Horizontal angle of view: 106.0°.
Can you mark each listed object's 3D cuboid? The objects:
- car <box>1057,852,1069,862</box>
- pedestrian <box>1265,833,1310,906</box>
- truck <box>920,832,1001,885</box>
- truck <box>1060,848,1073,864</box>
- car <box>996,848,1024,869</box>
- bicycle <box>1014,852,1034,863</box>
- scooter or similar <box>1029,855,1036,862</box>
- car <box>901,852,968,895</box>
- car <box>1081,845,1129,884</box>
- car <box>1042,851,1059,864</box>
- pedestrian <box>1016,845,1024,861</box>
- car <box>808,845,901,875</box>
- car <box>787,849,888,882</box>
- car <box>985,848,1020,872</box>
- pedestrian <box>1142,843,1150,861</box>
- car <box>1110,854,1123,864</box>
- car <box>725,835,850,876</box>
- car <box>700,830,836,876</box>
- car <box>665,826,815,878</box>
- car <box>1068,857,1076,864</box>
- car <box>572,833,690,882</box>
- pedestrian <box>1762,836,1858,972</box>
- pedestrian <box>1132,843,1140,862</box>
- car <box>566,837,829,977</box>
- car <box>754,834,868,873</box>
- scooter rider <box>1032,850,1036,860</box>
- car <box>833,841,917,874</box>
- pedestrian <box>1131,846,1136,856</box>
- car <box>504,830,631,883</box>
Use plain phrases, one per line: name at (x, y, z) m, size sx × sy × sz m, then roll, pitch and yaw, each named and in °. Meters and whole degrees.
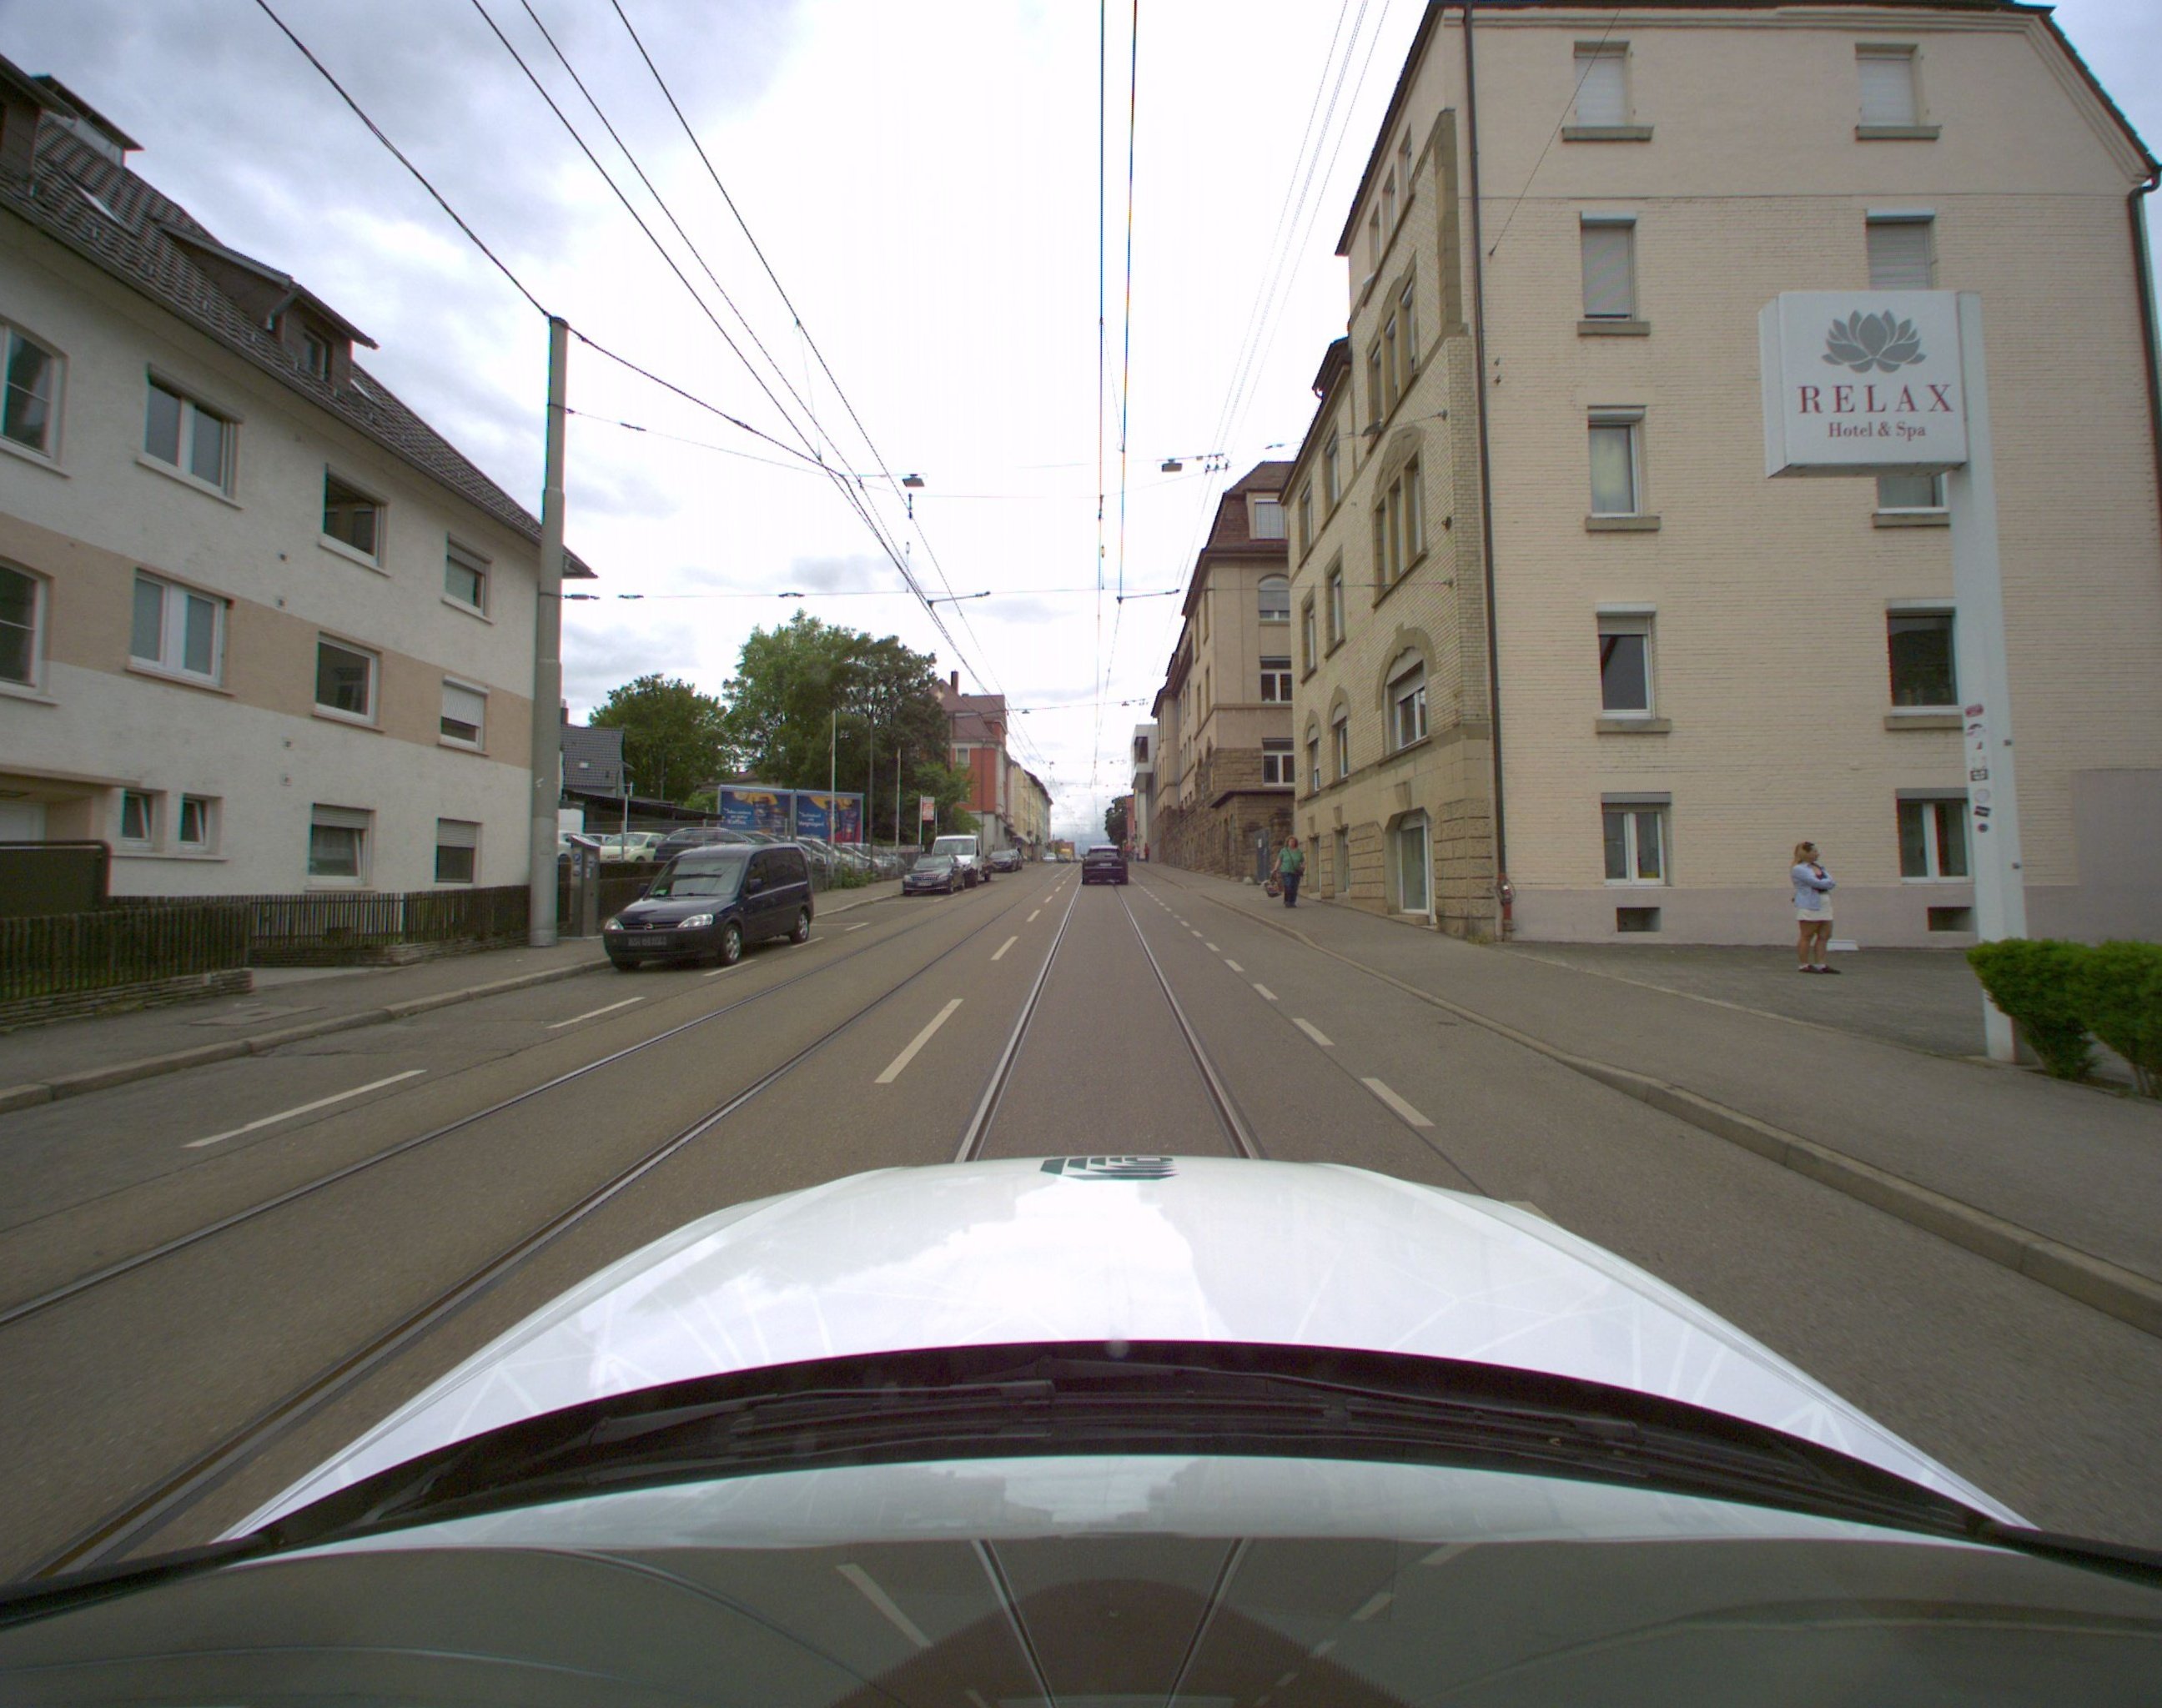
car at (-3.089, 0.549, 138.520) m, size 1.848 × 1.607 × 4.298 m, roll 0°, pitch 0°, yaw 1°
pedestrian at (4.958, 0.358, 19.563) m, size 0.867 × 1.686 × 0.663 m, roll -2°, pitch 0°, yaw 2°
truck at (-5.393, 0.154, 37.812) m, size 2.271 × 2.188 × 8.029 m, roll 0°, pitch 0°, yaw 2°
truck at (-2.800, 0.421, 158.700) m, size 2.294 × 3.036 × 9.034 m, roll 0°, pitch 0°, yaw 1°
car at (-5.047, 0.281, 58.218) m, size 1.510 × 1.446 × 3.711 m, roll 0°, pitch 0°, yaw 1°
bicycle at (-5.334, 0.363, 76.263) m, size 1.904 × 1.000 × 0.479 m, roll 0°, pitch 0°, yaw 1°
scooter or similar at (-7.165, 0.677, 121.084) m, size 1.025 × 0.919 × 0.472 m, roll 0°, pitch 0°, yaw -4°
car at (-5.479, 0.679, 30.904) m, size 1.692 × 1.433 × 4.480 m, roll -2°, pitch 0°, yaw -1°
car at (1.057, 0.415, 35.830) m, size 1.986 × 1.563 × 4.291 m, roll 0°, pitch 0°, yaw 1°
car at (-3.948, 0.397, 105.933) m, size 1.848 × 1.607 × 4.298 m, roll 0°, pitch 0°, yaw 1°
pedestrian at (-6.571, -0.096, 87.643) m, size 0.772 × 1.776 × 0.650 m, roll 0°, pitch 0°, yaw 2°
car at (-10.579, 0.252, 38.221) m, size 3.863 × 1.357 × 1.688 m, roll 0°, pitch 0°, yaw 0°
car at (-10.607, 0.481, 35.656) m, size 3.863 × 1.357 × 1.688 m, roll 0°, pitch 0°, yaw 0°
car at (-5.047, 0.348, 52.606) m, size 1.706 × 1.446 × 4.291 m, roll 0°, pitch 0°, yaw 1°
pedestrian at (6.015, -0.173, 75.330) m, size 0.788 × 1.667 × 0.799 m, roll 0°, pitch 0°, yaw 3°
car at (5.364, 0.764, 123.992) m, size 1.986 × 1.563 × 4.291 m, roll 0°, pitch 0°, yaw 1°
car at (-10.976, 0.047, 30.648) m, size 4.047 × 1.445 × 1.688 m, roll 0°, pitch 0°, yaw 0°
car at (-10.861, -0.050, 28.428) m, size 4.047 × 1.524 × 1.739 m, roll 0°, pitch 0°, yaw 0°
car at (-10.860, -0.062, 26.144) m, size 4.047 × 1.552 × 1.688 m, roll 1°, pitch 0°, yaw 0°
car at (-2.049, 1.528, 193.531) m, size 1.848 × 1.607 × 4.298 m, roll 0°, pitch 0°, yaw 1°
car at (-14.911, 0.095, 27.241) m, size 1.676 × 1.494 × 3.891 m, roll 0°, pitch 0°, yaw 2°
pedestrian at (8.797, 0.580, 9.853) m, size 0.556 × 1.582 × 0.686 m, roll 0°, pitch 0°, yaw 1°
pedestrian at (5.089, -0.137, 75.424) m, size 0.788 × 1.667 × 0.799 m, roll 0°, pitch 0°, yaw 3°
car at (-5.626, 0.665, 12.714) m, size 1.737 × 1.735 × 4.522 m, roll -3°, pitch 0°, yaw 2°
car at (-10.898, -0.027, 33.092) m, size 4.047 × 1.494 × 1.688 m, roll 0°, pitch 0°, yaw 0°
scooter rider at (-7.002, 0.138, 121.091) m, size 0.647 × 1.585 × 0.765 m, roll 0°, pitch 0°, yaw -3°
car at (-10.261, 0.151, 40.735) m, size 3.965 × 1.551 × 1.680 m, roll 0°, pitch 0°, yaw -14°
pedestrian at (8.124, -0.461, 126.035) m, size 0.788 × 1.667 × 0.799 m, roll 0°, pitch 0°, yaw 3°
car at (-17.049, 0.063, 27.266) m, size 1.676 × 1.613 × 3.891 m, roll 0°, pitch 0°, yaw 2°
